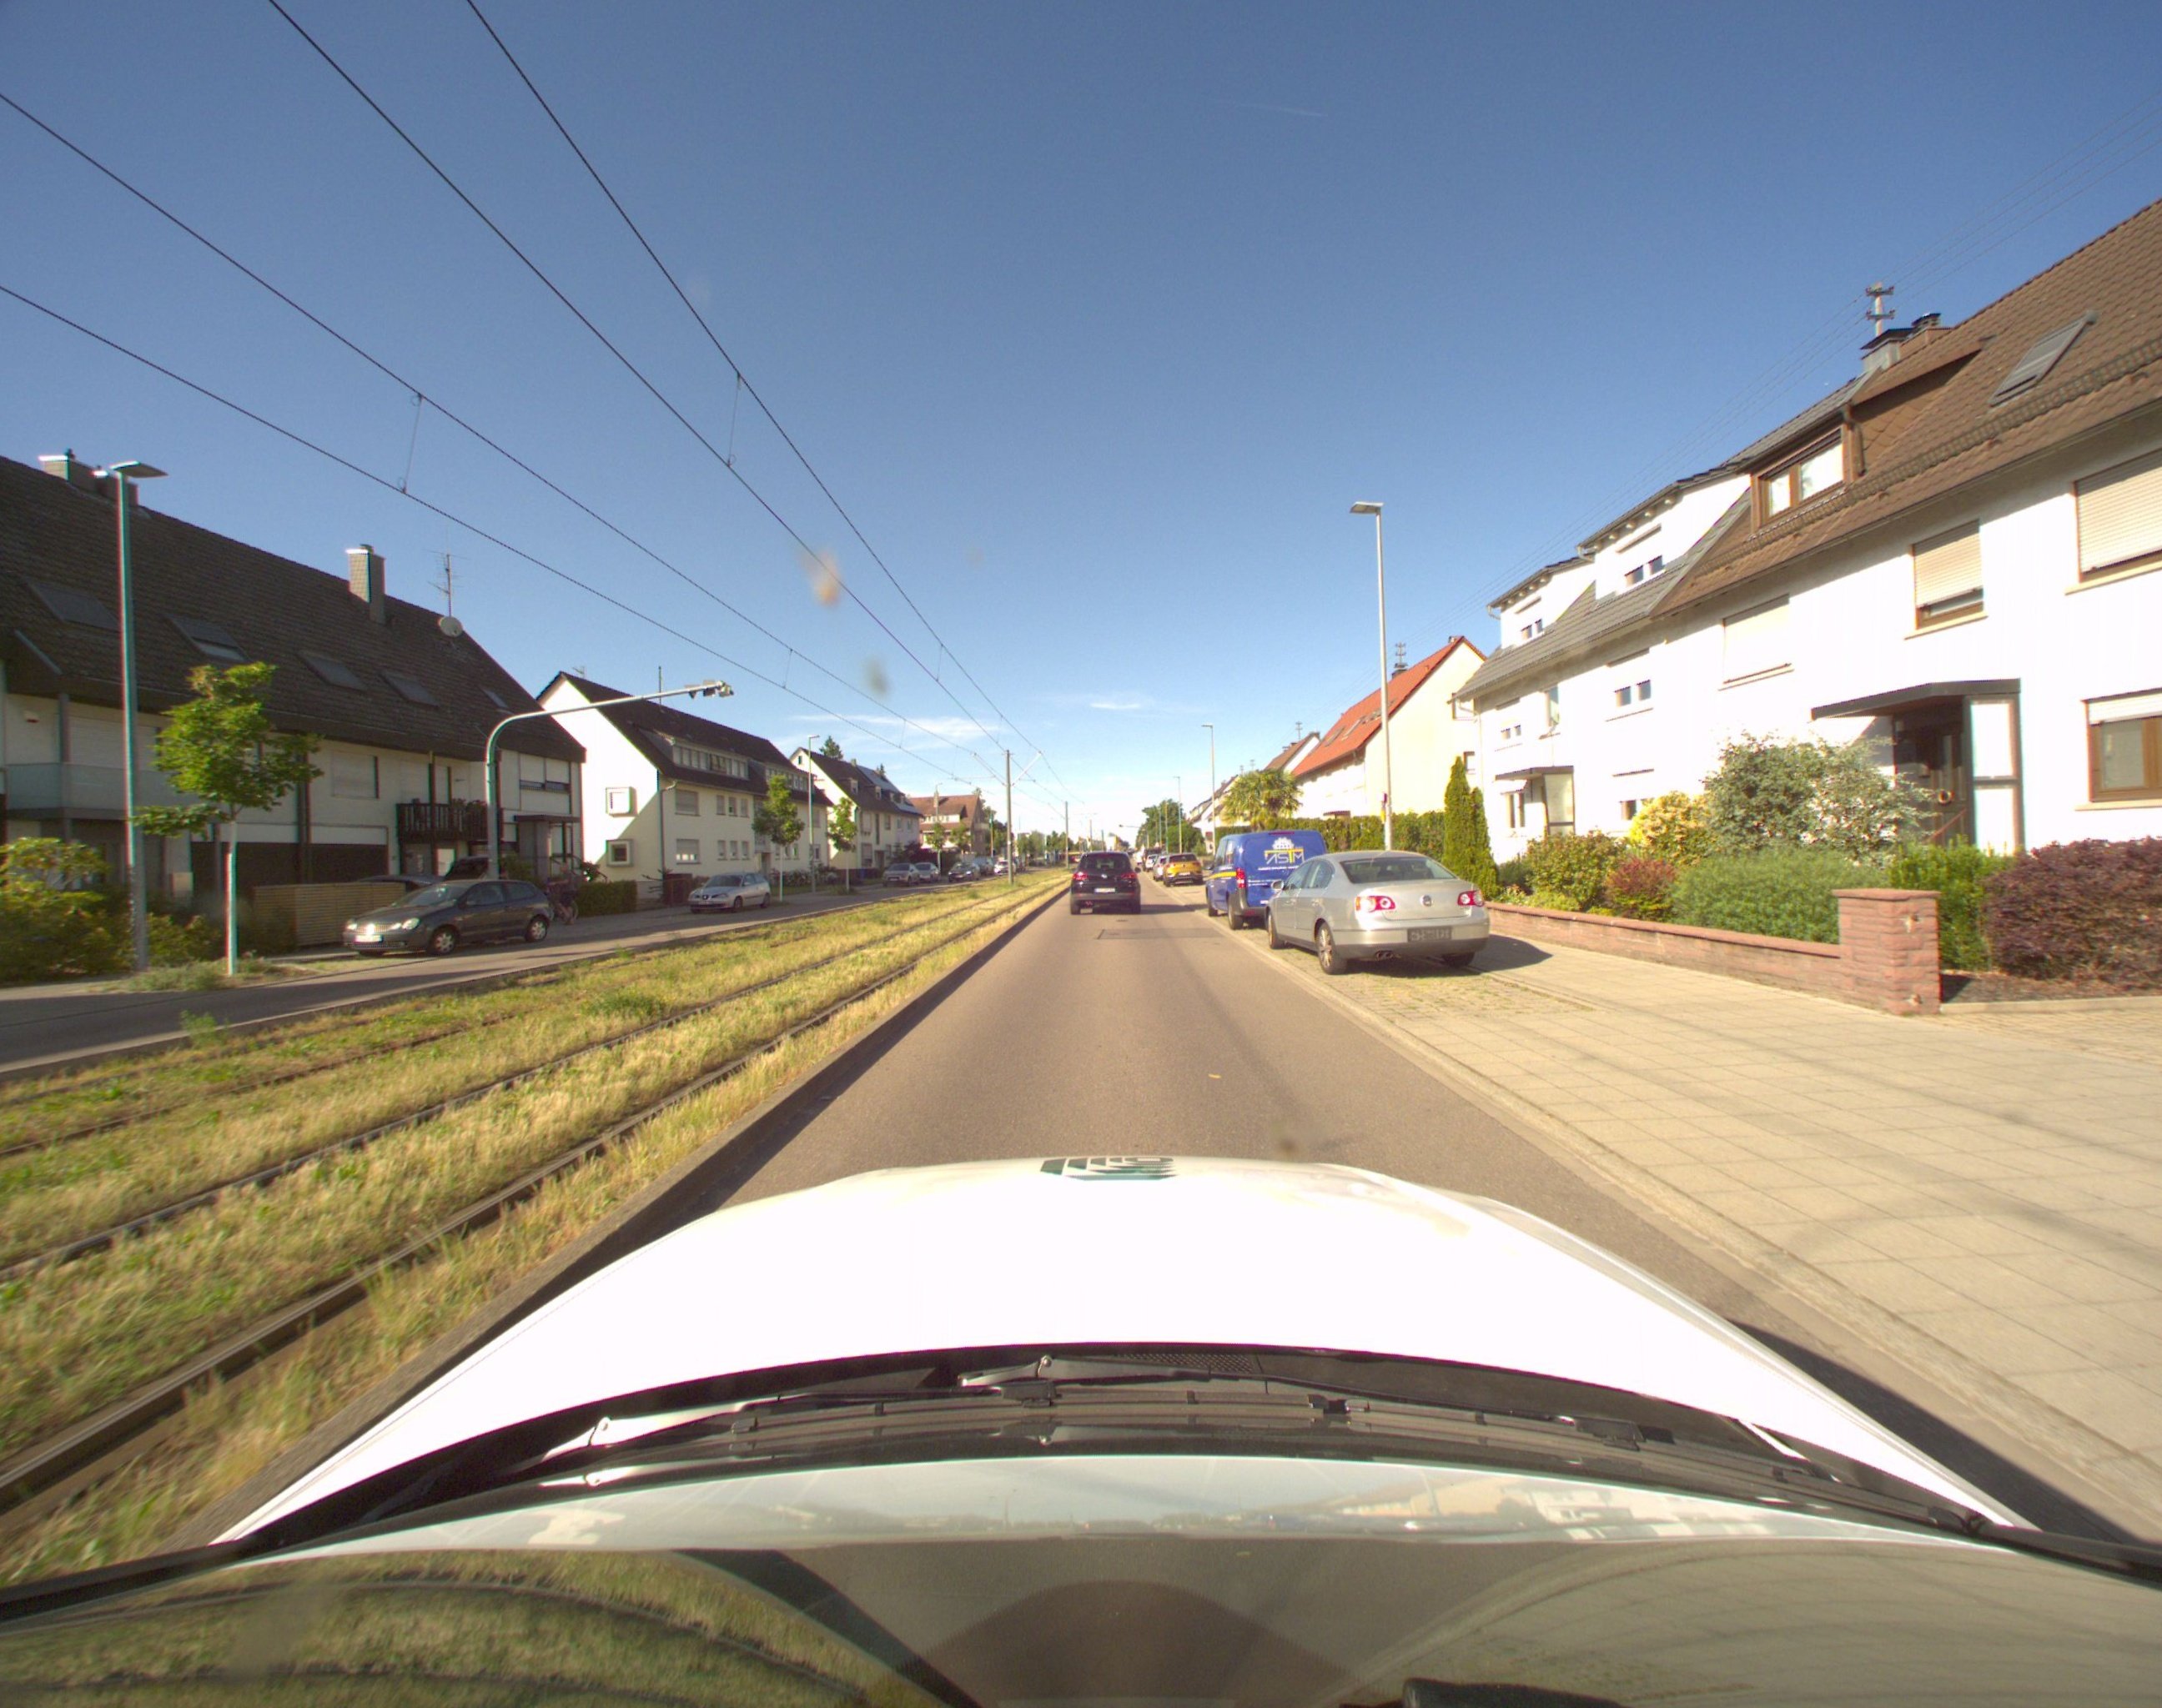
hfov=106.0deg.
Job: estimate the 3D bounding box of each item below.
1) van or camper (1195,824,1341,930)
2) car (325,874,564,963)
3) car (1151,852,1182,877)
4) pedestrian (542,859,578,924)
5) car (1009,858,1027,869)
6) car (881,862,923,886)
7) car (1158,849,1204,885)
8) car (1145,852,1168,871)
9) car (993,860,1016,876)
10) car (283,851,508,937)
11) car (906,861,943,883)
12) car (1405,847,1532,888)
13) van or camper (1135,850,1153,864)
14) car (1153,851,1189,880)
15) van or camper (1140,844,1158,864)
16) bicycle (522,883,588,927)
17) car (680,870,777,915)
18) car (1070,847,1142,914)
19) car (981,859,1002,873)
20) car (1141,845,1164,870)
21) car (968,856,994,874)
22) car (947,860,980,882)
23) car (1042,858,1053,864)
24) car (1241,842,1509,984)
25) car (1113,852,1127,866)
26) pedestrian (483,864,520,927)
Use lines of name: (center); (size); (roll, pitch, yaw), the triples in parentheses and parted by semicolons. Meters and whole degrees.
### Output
van or camper: (3.816, 0.446, 17.716); (1.942, 1.846, 5.584); (-3, 0, 1)
car: (-13.125, 1.255, 17.166); (1.612, 1.512, 4.089); (-2, 0, 3)
car: (5.540, 0.624, 53.144); (1.769, 1.498, 4.733); (-2, 0, 4)
pedestrian: (-14.846, 1.048, 23.200); (0.614, 1.815, 0.677); (0, -1, -6)
car: (-8.260, 1.216, 106.298); (1.687, 1.405, 4.083); (-2, 0, 4)
car: (-11.643, 1.268, 53.149); (1.682, 1.473, 4.316); (0, 0, 2)
car: (4.838, 0.595, 39.969); (1.798, 1.559, 4.930); (-3, 0, 3)
car: (6.463, 0.591, 70.032); (1.844, 1.443, 5.620); (-4, 0, 5)
car: (-7.107, 1.280, 75.732); (1.682, 1.475, 3.681); (0, -1, 2)
car: (-18.044, 1.017, 21.574); (4.442, 2.080, 1.788); (1, -1, 3)
car: (-11.338, 1.283, 59.143); (1.682, 1.475, 4.444); (0, 0, 2)
car: (14.434, 0.490, 30.481); (3.872, 1.421, 1.813); (-1, -1, -2)
van or camper: (9.277, 0.432, 119.699); (2.014, 1.956, 5.312); (-2, 0, 11)
car: (5.185, 0.627, 47.428); (1.741, 1.447, 4.702); (-3, 1, 2)
van or camper: (8.259, 0.027, 99.204); (1.985, 2.271, 6.311); (-3, -1, 4)
bicycle: (-15.192, 1.444, 23.587); (0.474, 1.163, 1.875); (-1, -1, 8)
car: (-12.818, 1.346, 29.873); (1.652, 1.436, 4.105); (-1, 0, 2)
car: (0.690, 0.671, 22.350); (1.769, 1.670, 4.001); (0, -1, 2)
car: (-9.541, 1.286, 87.368); (1.670, 1.491, 4.051); (0, 0, 1)
car: (6.690, 0.333, 76.813); (1.951, 2.144, 5.340); (-3, 0, 3)
car: (-9.939, 1.073, 81.397); (1.737, 1.823, 4.846); (0, 0, 4)
car: (-8.488, 1.202, 59.005); (1.682, 1.475, 4.084); (0, -1, 2)
car: (-7.659, 1.579, 186.540); (1.800, 1.461, 4.327); (0, -1, 8)
car: (3.708, 0.640, 11.468); (1.725, 1.458, 5.282); (-2, 0, -1)
car: (5.425, 0.622, 112.345); (1.623, 1.828, 4.129); (-2, 0, -1)
pedestrian: (-15.978, 1.137, 22.467); (0.547, 1.688, 0.626); (-1, -1, 18)
